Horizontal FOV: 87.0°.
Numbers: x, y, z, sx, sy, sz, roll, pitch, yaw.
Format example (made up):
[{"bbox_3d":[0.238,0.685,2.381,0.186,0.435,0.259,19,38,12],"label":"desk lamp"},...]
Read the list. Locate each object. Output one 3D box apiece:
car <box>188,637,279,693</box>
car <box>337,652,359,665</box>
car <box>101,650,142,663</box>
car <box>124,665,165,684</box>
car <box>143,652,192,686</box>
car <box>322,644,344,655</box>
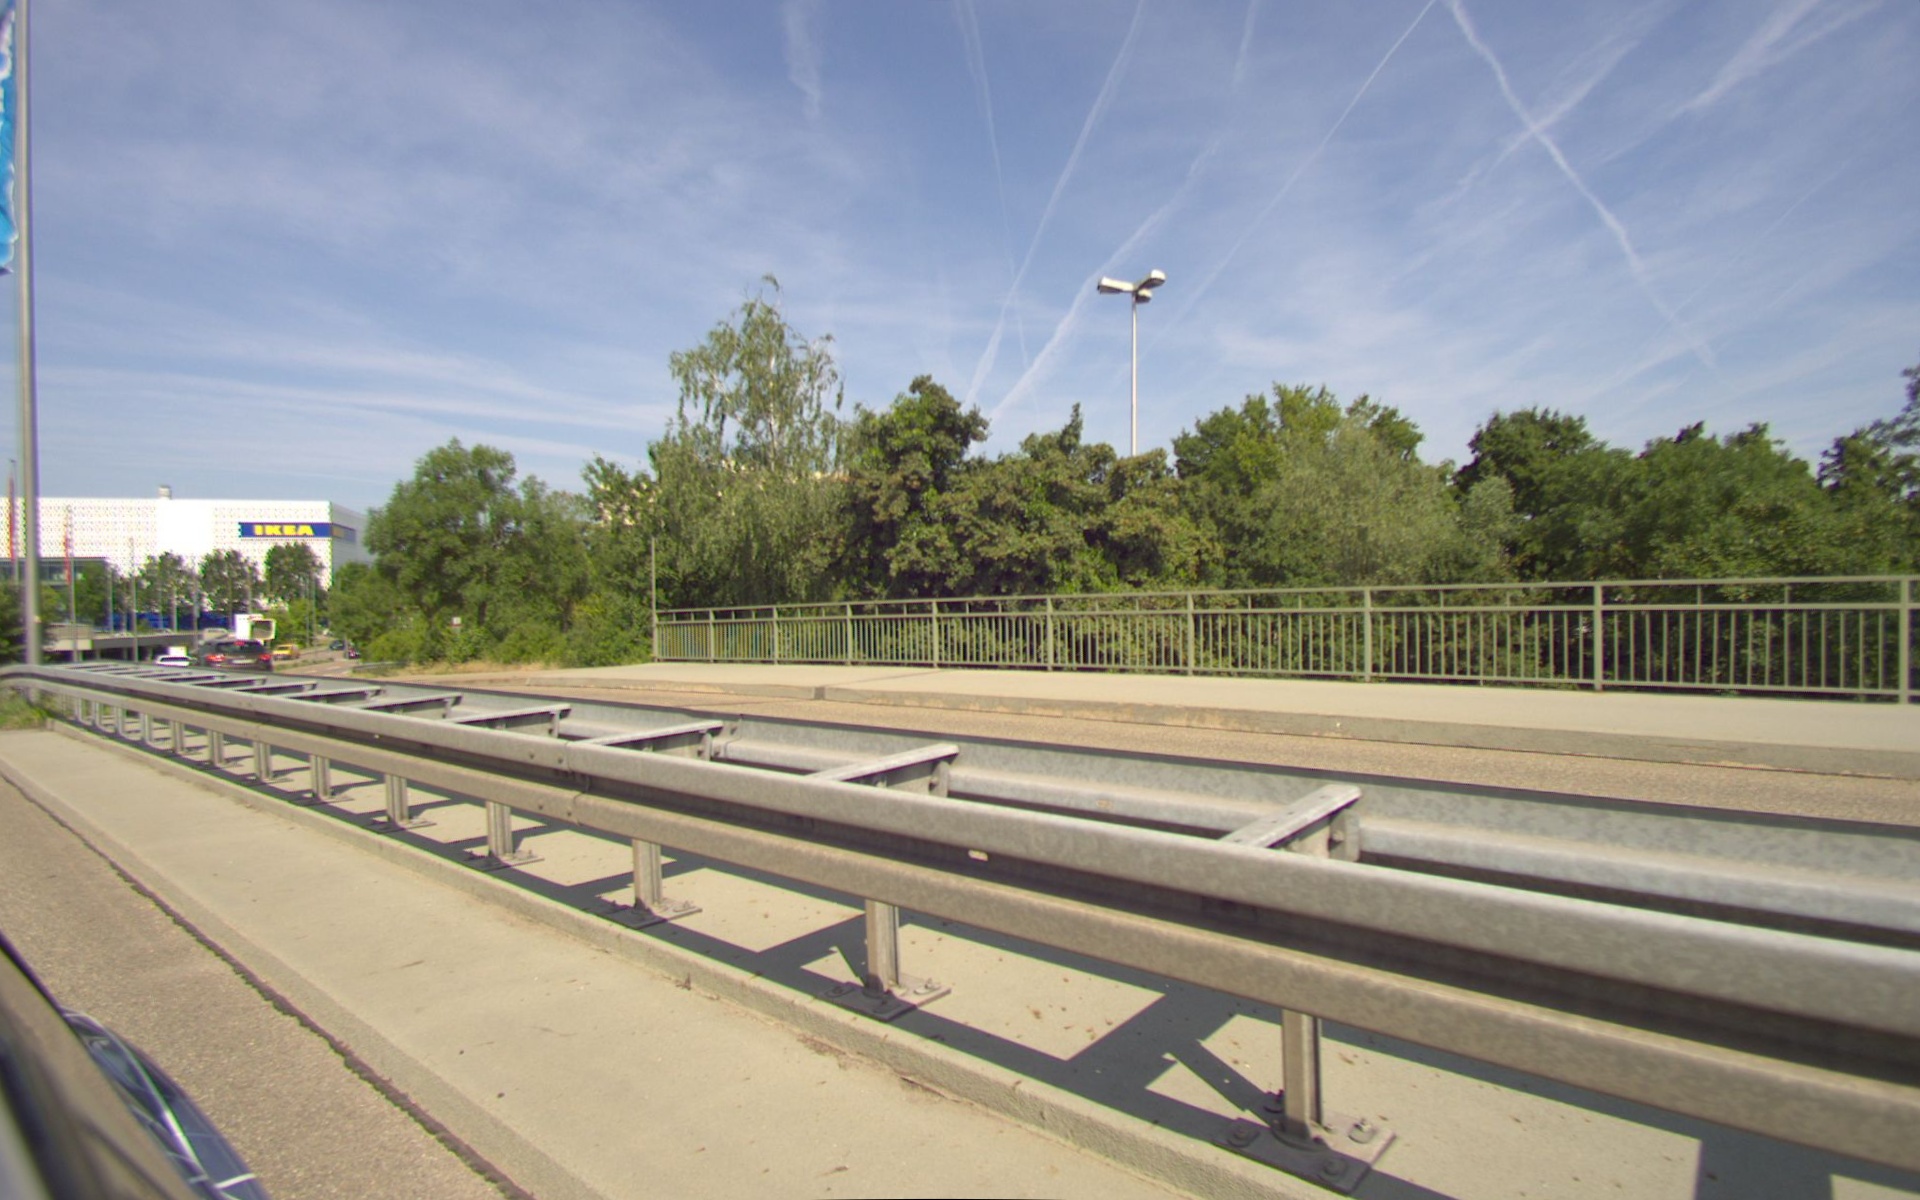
[{"bbox_3d":[-23.755,2.147,33.037,1.860,1.648,4.228,0,-4,-44],"label":"car"},{"bbox_3d":[-79.543,7.568,131.537,1.833,1.541,4.150,0,0,-41],"label":"car"},{"bbox_3d":[-124.343,8.371,150.122,4.243,1.848,2.006,0,-2,-25],"label":"car"},{"bbox_3d":[-77.669,7.042,96.440,1.795,1.485,4.013,0,0,-19],"label":"car"},{"bbox_3d":[-38.730,3.334,49.407,1.774,1.563,4.007,2,-3,-39],"label":"car"},{"bbox_3d":[-95.603,7.575,154.298,1.796,1.485,4.012,0,0,-16],"label":"car"}]
